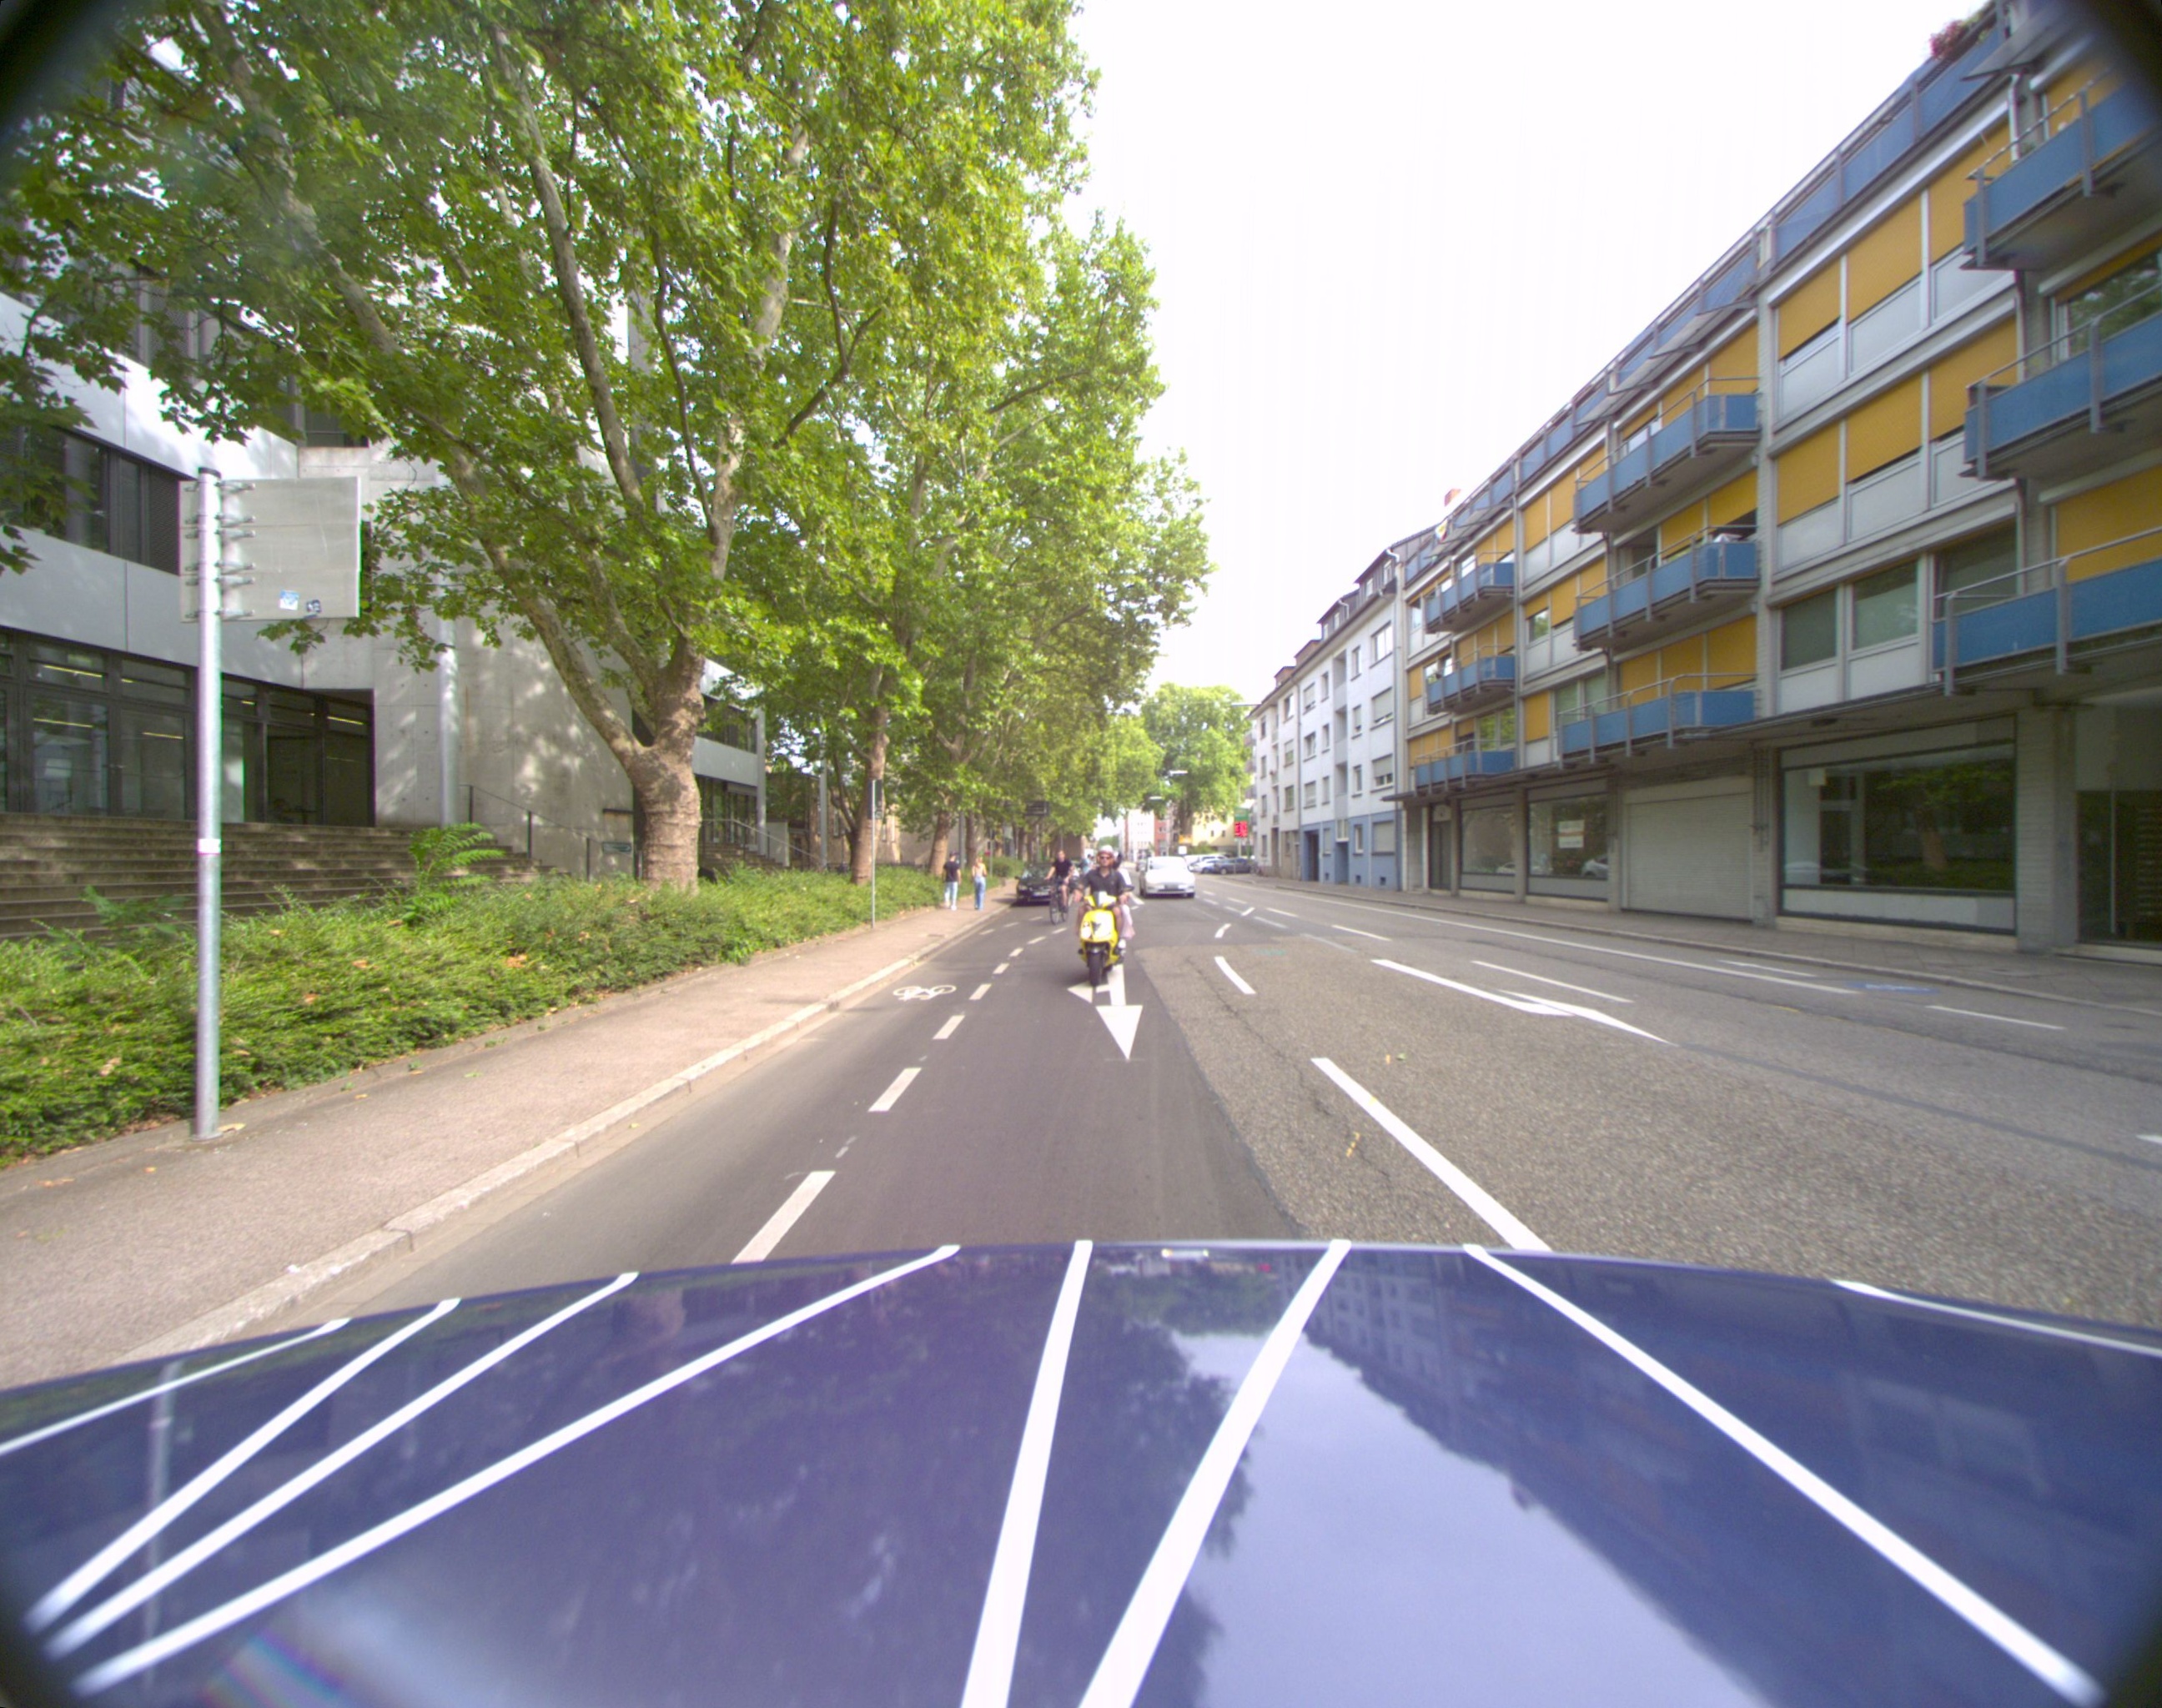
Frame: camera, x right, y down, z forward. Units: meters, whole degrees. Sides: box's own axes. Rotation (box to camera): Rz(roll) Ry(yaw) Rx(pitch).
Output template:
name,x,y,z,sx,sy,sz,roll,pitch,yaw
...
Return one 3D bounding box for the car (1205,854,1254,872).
name,x,y,z,sx,sy,sz,roll,pitch,yaw
car,14.153,0.849,72.718,4.311,1.442,1.910,-3,0,1

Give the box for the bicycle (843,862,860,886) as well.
name,x,y,z,sx,sy,sz,roll,pitch,yaw
bicycle,-11.036,0.936,36.548,0.492,1.111,1.437,1,0,-4

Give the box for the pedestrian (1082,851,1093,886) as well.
name,x,y,z,sx,sy,sz,roll,pitch,yaw
pedestrian,0.360,0.811,42.432,0.476,1.923,0.744,-2,1,-10

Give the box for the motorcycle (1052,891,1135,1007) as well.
name,x,y,z,sx,sy,sz,roll,pitch,yaw
motorcycle,0.236,1.142,9.922,0.904,1.190,2.631,-1,0,5

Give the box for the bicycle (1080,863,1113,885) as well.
name,x,y,z,sx,sy,sz,roll,pitch,yaw
bicycle,0.905,1.147,43.599,1.796,1.210,0.552,-2,1,-16

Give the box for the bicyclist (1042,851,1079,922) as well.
name,x,y,z,sx,sy,sz,roll,pitch,yaw
bicyclist,-0.496,0.792,18.831,0.764,1.698,0.918,-1,0,5

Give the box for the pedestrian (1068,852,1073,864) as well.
name,x,y,z,sx,sy,sz,roll,pitch,yaw
pedestrian,-1.559,0.595,110.309,0.592,1.775,0.476,3,1,0

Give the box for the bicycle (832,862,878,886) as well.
name,x,y,z,sx,sy,sz,roll,pitch,yaw
bicycle,-10.465,0.924,35.180,1.919,1.111,0.673,1,0,1

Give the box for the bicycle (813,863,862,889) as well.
name,x,y,z,sx,sy,sz,roll,pitch,yaw
bicycle,-10.587,0.939,33.071,1.919,1.111,0.673,1,0,1

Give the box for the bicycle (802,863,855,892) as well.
name,x,y,z,sx,sy,sz,roll,pitch,yaw
bicycle,-10.196,0.945,30.685,1.919,1.111,0.673,1,0,1

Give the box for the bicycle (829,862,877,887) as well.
name,x,y,z,sx,sy,sz,roll,pitch,yaw
bicycle,-10.220,0.924,34.088,1.919,1.111,0.673,1,0,1

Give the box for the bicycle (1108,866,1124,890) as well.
name,x,y,z,sx,sy,sz,roll,pitch,yaw
bicycle,1.815,1.215,39.297,0.763,1.162,1.950,-1,0,2

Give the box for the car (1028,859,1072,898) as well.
name,x,y,z,sx,sy,sz,roll,pitch,yaw
car,-1.292,1.026,32.542,1.539,1.534,2.600,-2,0,4

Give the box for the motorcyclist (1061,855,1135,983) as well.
name,x,y,z,sx,sy,sz,roll,pitch,yaw
motorcyclist,0.238,0.824,9.923,0.904,1.608,0.691,-1,0,4

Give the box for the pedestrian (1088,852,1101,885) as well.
name,x,y,z,sx,sy,sz,roll,pitch,yaw
pedestrian,0.775,0.834,43.875,0.522,1.834,0.744,-2,1,-14

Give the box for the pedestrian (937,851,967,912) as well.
name,x,y,z,sx,sy,sz,roll,pitch,yaw
pedestrian,-3.945,0.823,23.237,0.717,1.789,1.033,1,1,0

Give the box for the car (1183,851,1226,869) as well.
name,x,y,z,sx,sy,sz,roll,pitch,yaw
car,14.102,0.703,86.815,4.627,1.848,1.950,-3,0,2

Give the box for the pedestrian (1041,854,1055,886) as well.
name,x,y,z,sx,sy,sz,roll,pitch,yaw
pedestrian,-1.925,0.919,43.937,0.723,1.844,0.703,-2,1,1

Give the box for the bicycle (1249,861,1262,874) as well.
name,x,y,z,sx,sy,sz,roll,pitch,yaw
bicycle,13.022,0.995,56.767,0.598,0.945,1.663,-2,0,1

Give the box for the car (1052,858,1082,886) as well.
name,x,y,z,sx,sy,sz,roll,pitch,yaw
car,-0.886,1.071,46.774,1.685,1.507,4.543,-3,0,-1

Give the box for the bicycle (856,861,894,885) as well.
name,x,y,z,sx,sy,sz,roll,pitch,yaw
bicycle,-9.869,0.918,36.409,1.701,1.111,0.622,1,0,-18

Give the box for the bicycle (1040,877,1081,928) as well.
name,x,y,z,sx,sy,sz,roll,pitch,yaw
bicycle,-0.478,1.184,19.057,0.763,1.162,1.950,-1,0,5

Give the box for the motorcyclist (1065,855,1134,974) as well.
name,x,y,z,sx,sy,sz,roll,pitch,yaw
motorcyclist,0.273,0.819,10.632,0.904,1.608,0.691,-1,0,4

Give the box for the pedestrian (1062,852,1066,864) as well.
name,x,y,z,sx,sy,sz,roll,pitch,yaw
pedestrian,-2.503,0.615,110.528,0.502,1.775,0.527,3,1,0

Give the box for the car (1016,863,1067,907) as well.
name,x,y,z,sx,sy,sz,roll,pitch,yaw
car,-1.419,1.091,28.267,1.702,1.417,4.421,-2,0,-2

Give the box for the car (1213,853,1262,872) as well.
name,x,y,z,sx,sy,sz,roll,pitch,yaw
car,14.429,0.804,70.294,4.161,1.504,1.837,-3,0,1

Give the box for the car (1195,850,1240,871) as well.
name,x,y,z,sx,sy,sz,roll,pitch,yaw
car,13.929,0.666,77.708,4.221,1.837,1.924,-3,0,1

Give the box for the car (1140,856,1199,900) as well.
name,x,y,z,sx,sy,sz,roll,pitch,yaw
car,3.483,0.906,30.677,2.000,1.556,4.551,-1,0,2

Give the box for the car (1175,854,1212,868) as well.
name,x,y,z,sx,sy,sz,roll,pitch,yaw
car,14.564,0.903,98.316,4.529,1.596,1.754,-3,0,2

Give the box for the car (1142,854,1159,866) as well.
name,x,y,z,sx,sy,sz,roll,pitch,yaw
car,8.419,0.720,92.249,1.762,1.419,4.099,1,0,0

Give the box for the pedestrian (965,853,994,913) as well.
name,x,y,z,sx,sy,sz,roll,pitch,yaw
pedestrian,-3.080,0.860,23.200,0.712,1.773,1.033,1,1,0

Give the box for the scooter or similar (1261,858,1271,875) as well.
name,x,y,z,sx,sy,sz,roll,pitch,yaw
scooter or similar,13.156,0.873,54.058,0.350,1.214,1.202,-2,0,1

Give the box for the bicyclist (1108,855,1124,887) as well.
name,x,y,z,sx,sy,sz,roll,pitch,yaw
bicyclist,1.818,0.877,39.302,0.748,1.590,0.819,-1,0,2

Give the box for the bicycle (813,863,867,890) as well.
name,x,y,z,sx,sy,sz,roll,pitch,yaw
bicycle,-10.147,0.935,32.021,2.084,1.111,0.673,1,0,1

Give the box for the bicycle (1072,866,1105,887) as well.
name,x,y,z,sx,sy,sz,roll,pitch,yaw
bicycle,0.417,1.228,42.104,1.740,1.099,0.552,-2,0,-10

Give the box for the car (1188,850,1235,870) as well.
name,x,y,z,sx,sy,sz,roll,pitch,yaw
car,14.454,0.639,84.472,4.778,1.923,1.994,-3,0,2

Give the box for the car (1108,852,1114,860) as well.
name,x,y,z,sx,sy,sz,roll,pitch,yaw
car,9.679,0.769,246.188,1.998,2.546,4.799,-1,0,2

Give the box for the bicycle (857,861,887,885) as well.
name,x,y,z,sx,sy,sz,roll,pitch,yaw
bicycle,-10.150,0.926,36.992,1.383,1.111,0.510,1,0,-14

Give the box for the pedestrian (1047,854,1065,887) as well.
name,x,y,z,sx,sy,sz,roll,pitch,yaw
pedestrian,-1.375,0.911,42.122,0.873,1.806,0.780,-2,1,1

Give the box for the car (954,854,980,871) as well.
name,x,y,z,sx,sy,sz,roll,pitch,yaw
car,-10.137,0.792,67.782,1.673,1.441,4.299,-1,-2,-1

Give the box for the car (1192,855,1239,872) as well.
name,x,y,z,sx,sy,sz,roll,pitch,yaw
car,13.244,0.893,75.033,4.281,1.442,1.874,-3,0,1
